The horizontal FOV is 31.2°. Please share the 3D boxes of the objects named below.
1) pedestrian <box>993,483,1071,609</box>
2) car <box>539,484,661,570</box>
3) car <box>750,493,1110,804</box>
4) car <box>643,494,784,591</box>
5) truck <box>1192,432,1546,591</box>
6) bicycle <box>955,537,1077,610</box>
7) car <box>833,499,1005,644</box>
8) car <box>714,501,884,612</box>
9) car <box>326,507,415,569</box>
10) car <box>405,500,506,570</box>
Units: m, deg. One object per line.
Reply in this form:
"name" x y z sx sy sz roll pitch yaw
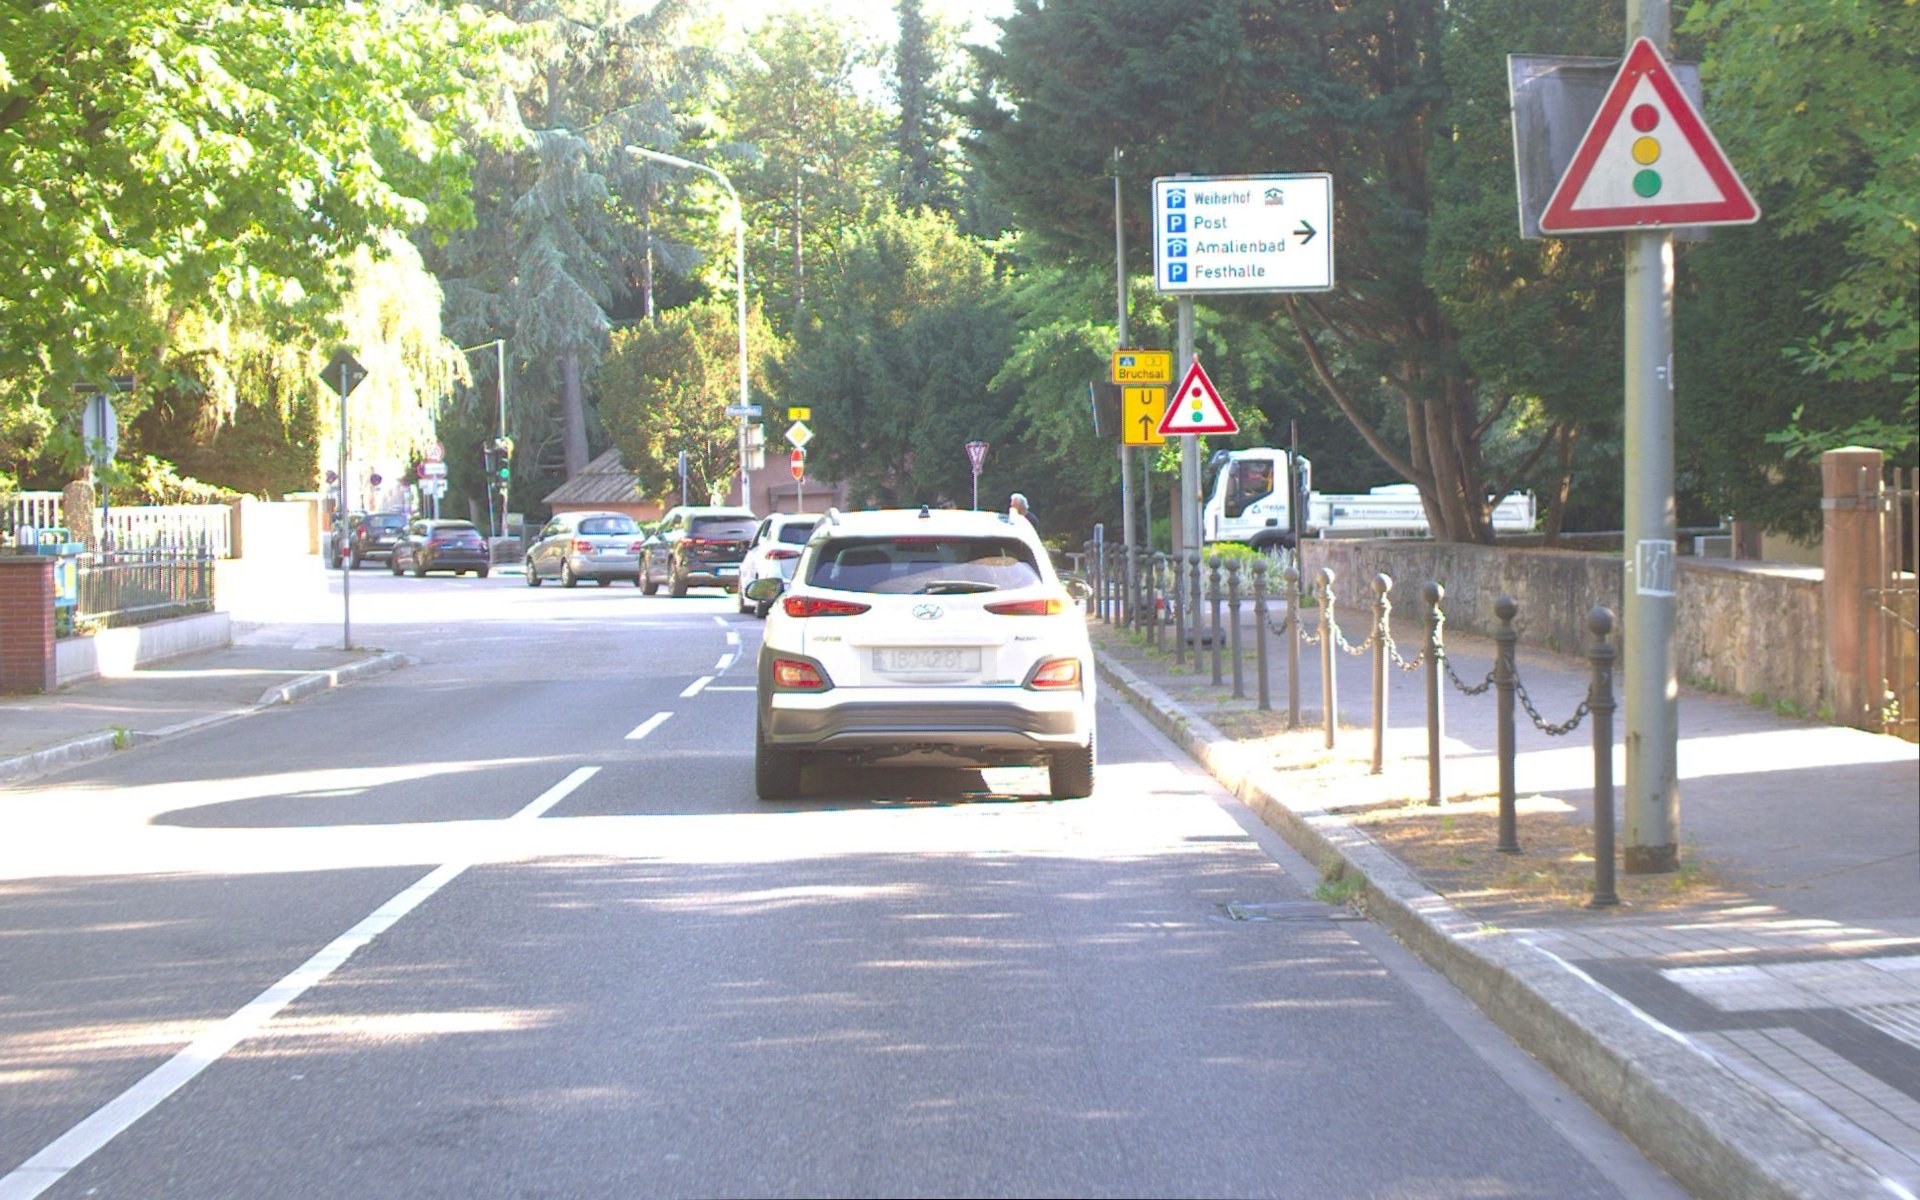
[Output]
"pedestrian" 1.057 -0.790 50.396 0.940 1.819 0.554 0 4 -39
"car" -7.632 -1.567 72.678 1.831 1.734 4.002 1 2 -17
"car" -0.201 0.196 19.692 1.820 1.568 4.001 1 2 -1
"car" -4.448 -1.053 61.614 1.831 1.656 4.002 1 2 -14
"truck" 7.810 -1.718 66.190 6.588 2.885 2.433 1 2 4
"bicycle" 0.833 -0.400 50.802 1.812 1.039 0.561 0 3 -38
"car" -0.456 -0.350 36.967 1.708 1.429 4.365 1 2 -1
"car" -2.407 -0.663 50.343 1.805 1.532 4.001 1 2 -13
"car" -16.654 -1.751 96.988 1.831 1.656 4.001 1 2 -19
"car" -12.637 -1.642 85.994 1.831 1.656 4.002 0 2 -18
